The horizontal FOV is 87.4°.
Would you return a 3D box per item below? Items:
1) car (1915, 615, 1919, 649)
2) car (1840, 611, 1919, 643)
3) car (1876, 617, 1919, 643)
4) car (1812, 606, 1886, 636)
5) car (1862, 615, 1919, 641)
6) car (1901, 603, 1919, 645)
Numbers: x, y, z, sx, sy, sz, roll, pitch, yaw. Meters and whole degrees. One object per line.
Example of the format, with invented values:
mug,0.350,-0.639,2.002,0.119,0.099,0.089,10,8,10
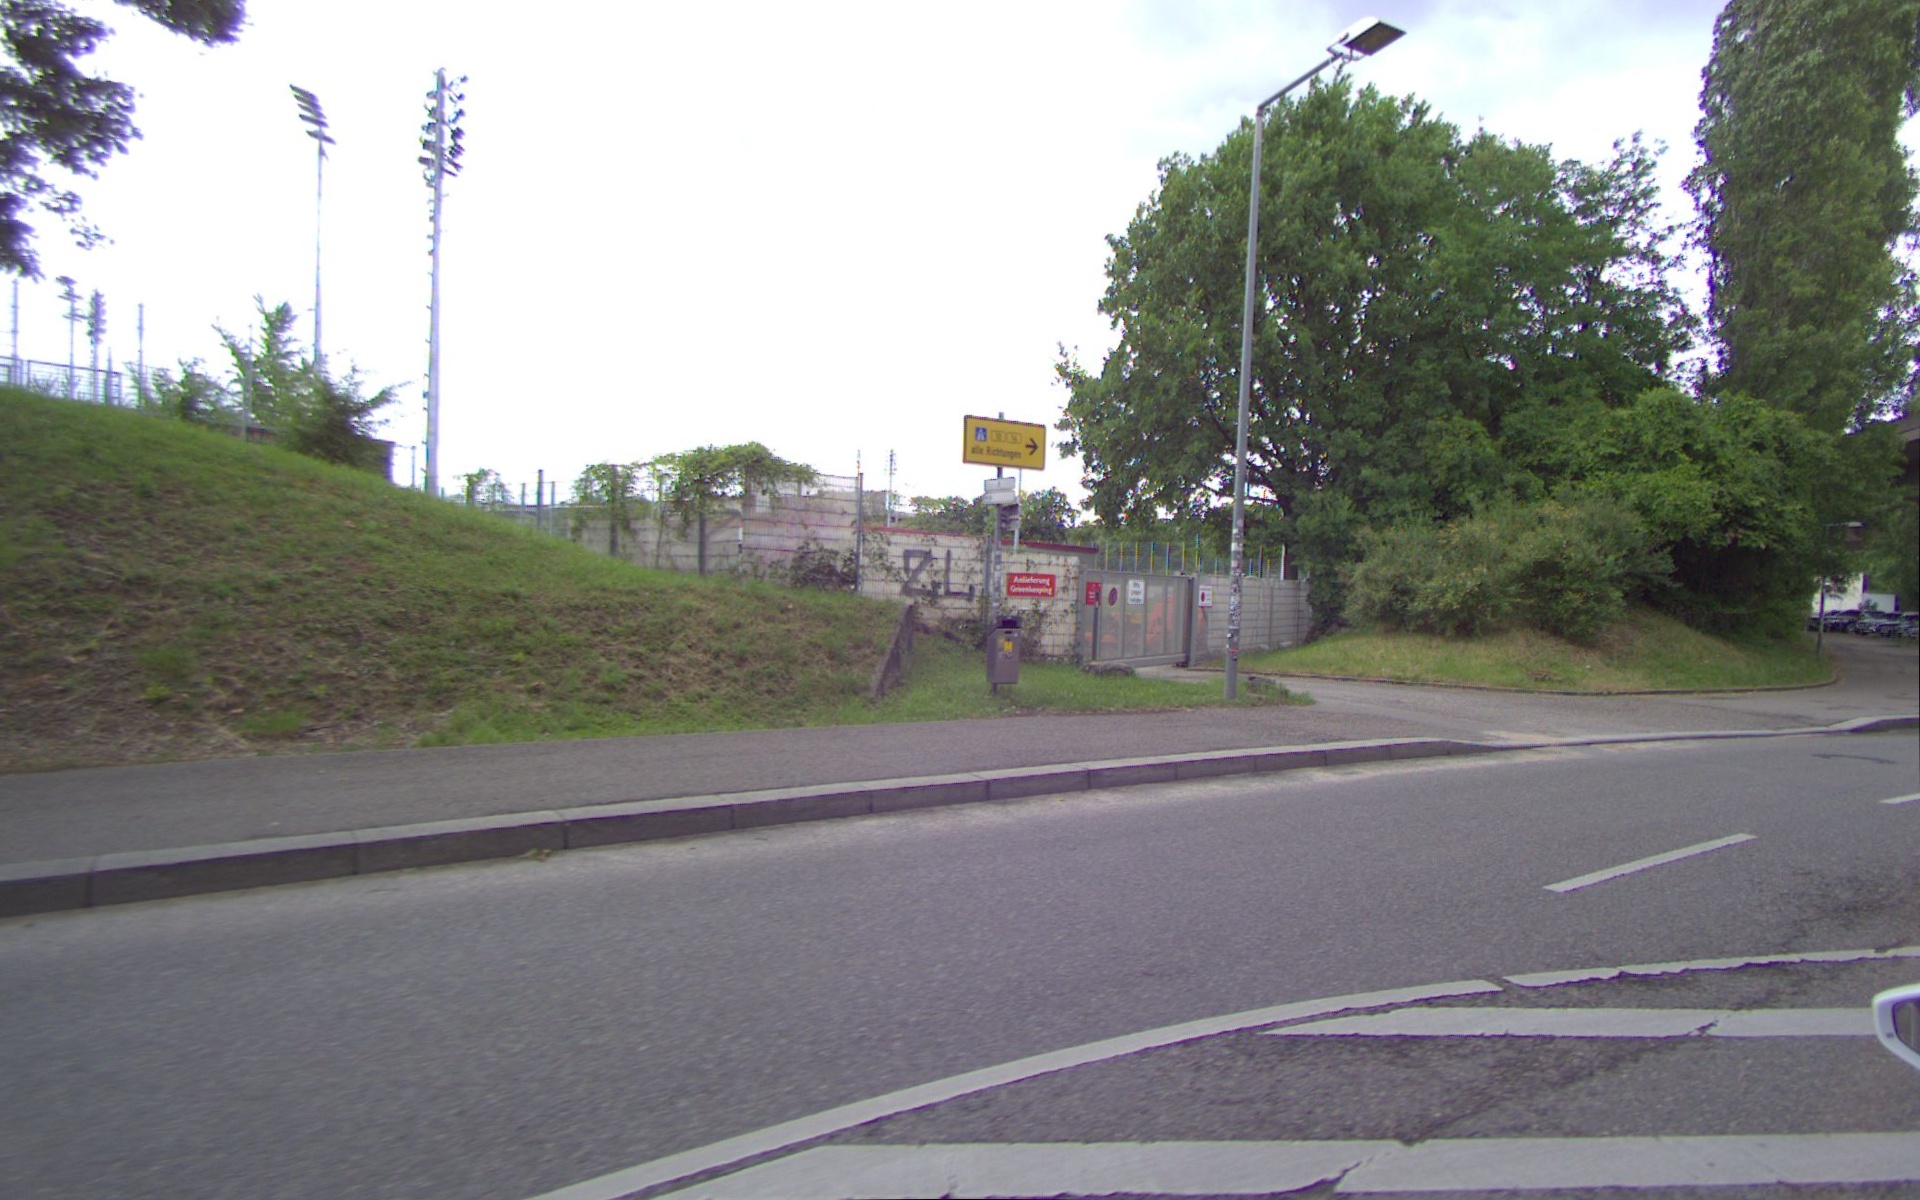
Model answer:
car,49.208,1.634,48.694,4.073,1.698,1.901,2,0,-2
car,60.215,1.739,65.389,4.218,1.824,1.846,-3,-1,-3
car,57.565,1.822,59.697,4.556,1.454,1.999,2,0,-3
car,62.639,1.461,70.785,4.009,1.735,1.655,4,3,-10
car,59.036,1.789,62.753,3.813,1.494,1.792,2,0,-5
car,54.415,1.355,54.578,4.924,2.284,2.122,2,0,-7
